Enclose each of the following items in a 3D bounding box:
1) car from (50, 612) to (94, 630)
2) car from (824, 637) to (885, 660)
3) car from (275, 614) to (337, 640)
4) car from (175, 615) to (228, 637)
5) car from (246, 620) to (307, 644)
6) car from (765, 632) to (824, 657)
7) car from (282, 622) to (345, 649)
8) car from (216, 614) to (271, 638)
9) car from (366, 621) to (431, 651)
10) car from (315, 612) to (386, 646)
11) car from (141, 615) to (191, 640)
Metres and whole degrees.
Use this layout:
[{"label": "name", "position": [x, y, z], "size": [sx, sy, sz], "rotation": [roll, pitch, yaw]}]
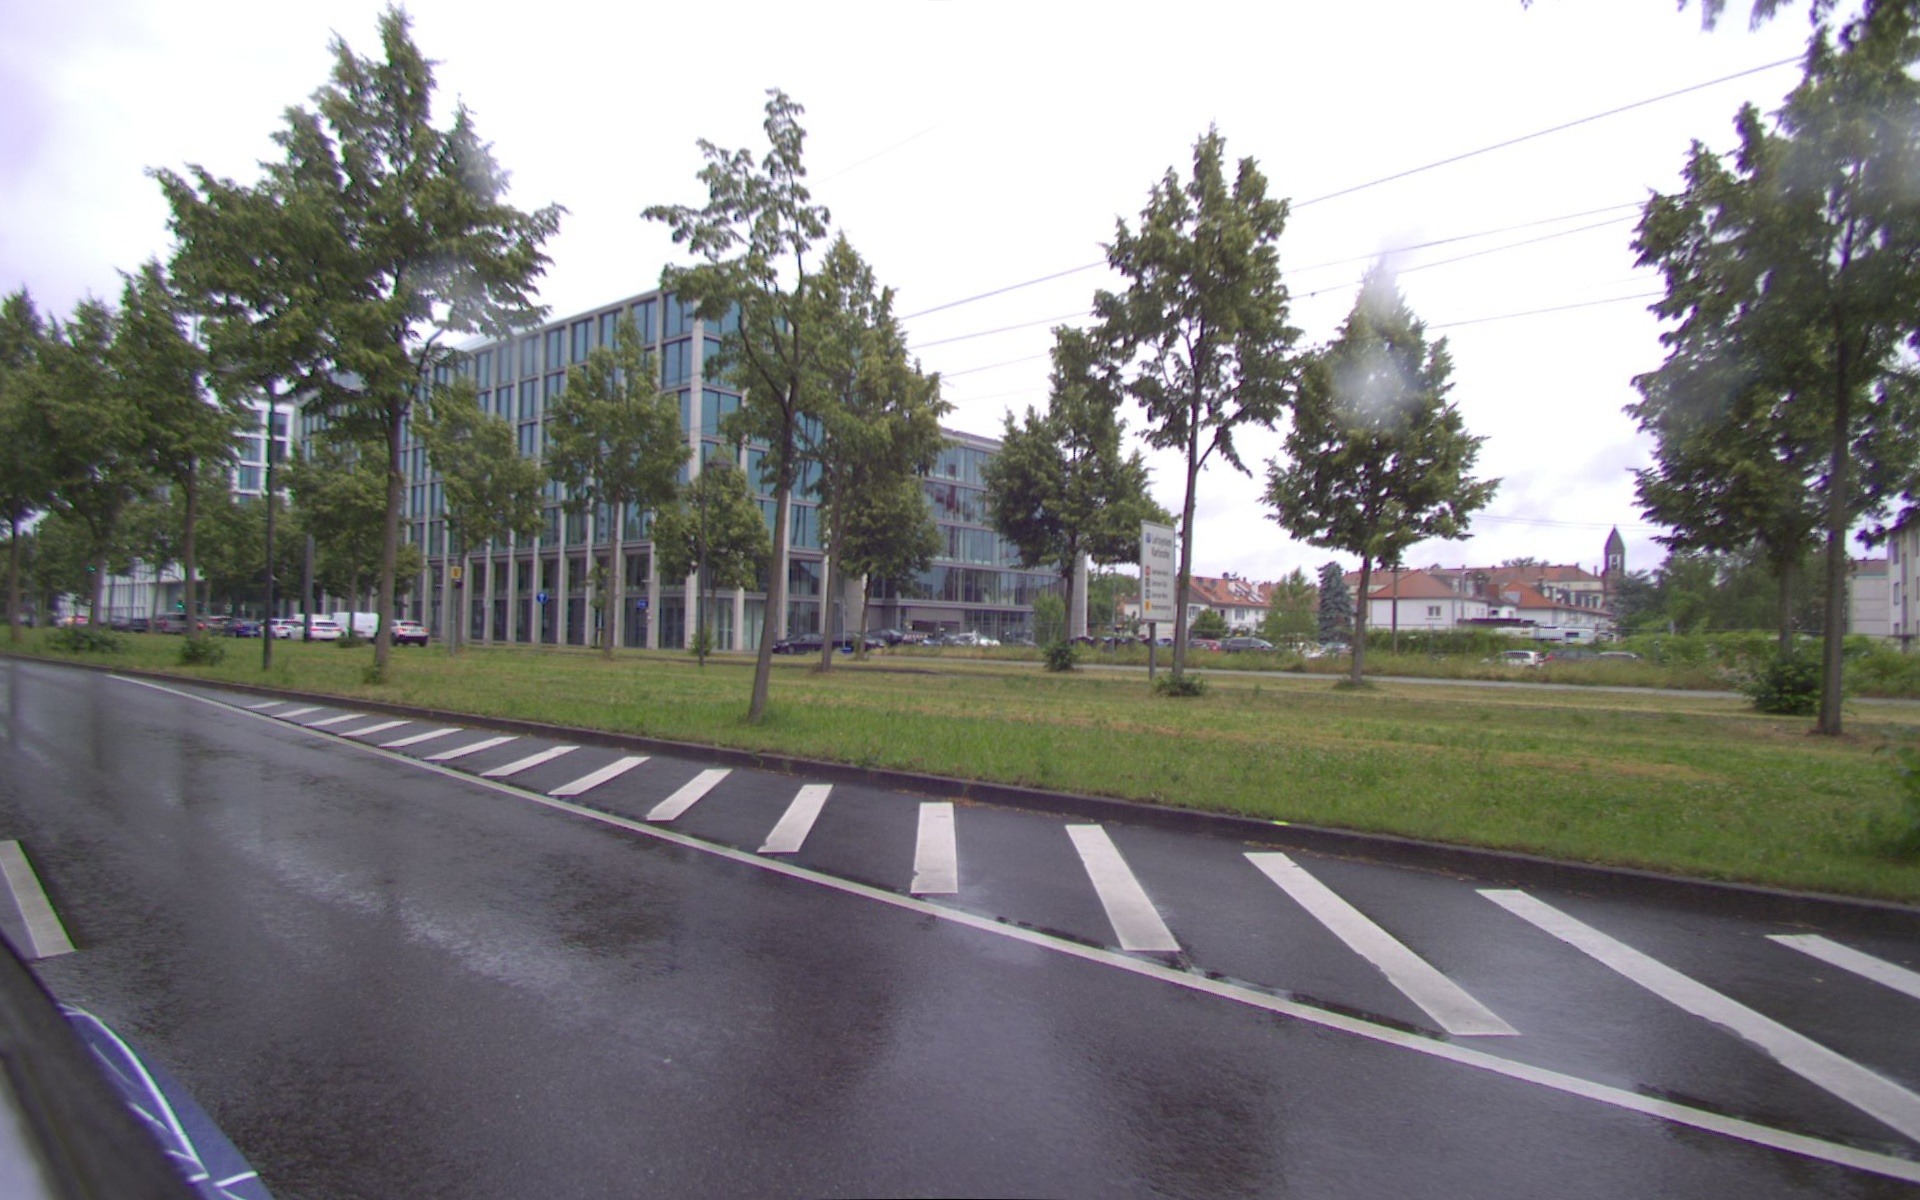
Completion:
[{"label": "car", "position": [-75.684, 1.795, 86.213], "size": [4.569, 1.463, 1.932], "rotation": [-1, -3, 38]}, {"label": "car", "position": [-6.215, 2.876, 59.461], "size": [3.658, 1.249, 1.484], "rotation": [-4, -5, 42]}, {"label": "car", "position": [-45.756, 1.920, 70.793], "size": [5.019, 1.664, 1.933], "rotation": [-3, -5, 36]}, {"label": "car", "position": [-55.552, 1.905, 74.103], "size": [4.596, 1.396, 1.932], "rotation": [-4, -5, 37]}, {"label": "car", "position": [-44.277, 2.048, 65.554], "size": [4.569, 1.525, 1.932], "rotation": [-1, -3, 38]}, {"label": "car", "position": [-11.225, 3.034, 68.753], "size": [1.743, 1.621, 3.749], "rotation": [-4, -5, 41]}, {"label": "car", "position": [-39.338, 2.171, 61.521], "size": [4.829, 1.472, 1.930], "rotation": [-4, -5, 41]}, {"label": "car", "position": [-49.424, 1.807, 69.803], "size": [3.953, 1.506, 1.933], "rotation": [-3, -5, 36]}, {"label": "car", "position": [-33.660, 2.146, 60.595], "size": [4.573, 1.762, 1.930], "rotation": [-1, -3, 41]}, {"label": "car", "position": [-39.735, 1.919, 65.904], "size": [5.366, 2.022, 2.245], "rotation": [-4, -5, 39]}, {"label": "car", "position": [-62.317, 2.159, 79.406], "size": [4.536, 1.863, 1.932], "rotation": [-2, -4, 37]}]
